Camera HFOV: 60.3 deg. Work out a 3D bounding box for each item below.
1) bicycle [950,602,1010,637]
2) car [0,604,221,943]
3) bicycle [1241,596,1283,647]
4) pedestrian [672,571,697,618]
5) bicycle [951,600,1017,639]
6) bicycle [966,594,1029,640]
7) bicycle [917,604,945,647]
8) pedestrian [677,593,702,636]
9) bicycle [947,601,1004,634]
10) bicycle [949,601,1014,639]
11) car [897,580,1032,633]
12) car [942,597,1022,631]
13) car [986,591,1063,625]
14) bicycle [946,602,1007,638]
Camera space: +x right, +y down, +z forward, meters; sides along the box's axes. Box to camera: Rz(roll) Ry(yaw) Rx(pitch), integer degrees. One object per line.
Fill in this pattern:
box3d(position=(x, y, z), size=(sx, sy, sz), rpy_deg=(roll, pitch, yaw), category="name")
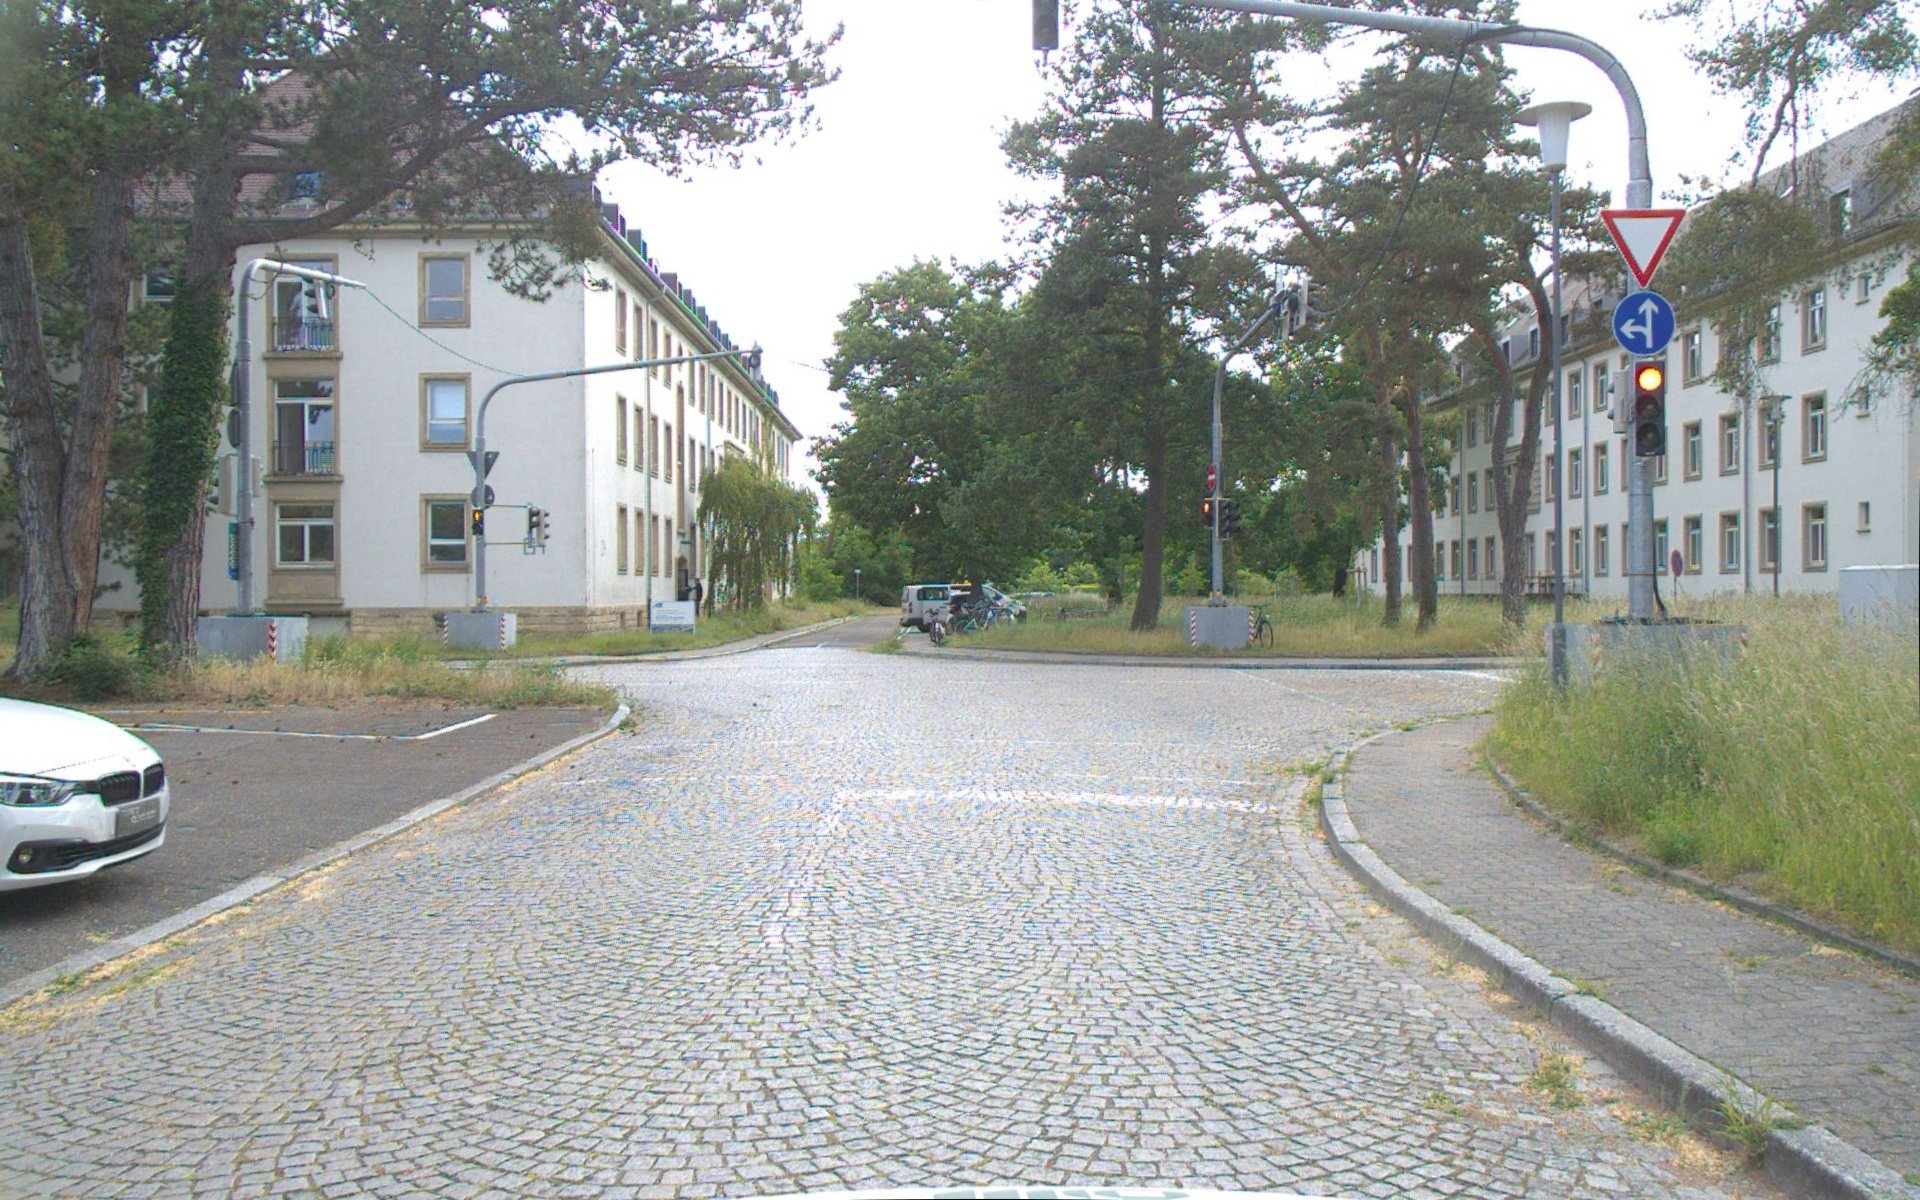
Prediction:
box3d(position=(0.657, 0.624, 53.404), size=(1.935, 1.088, 0.582), rpy_deg=(0, 0, -31), category="bicycle")
box3d(position=(-5.964, 0.716, 8.112), size=(3.868, 1.446, 1.650), rpy_deg=(2, 0, -2), category="car")
box3d(position=(6.916, 0.472, 37.916), size=(0.574, 1.125, 1.961), rpy_deg=(0, 0, -1), category="bicycle")
box3d(position=(-10.904, -0.215, 65.510), size=(0.766, 1.869, 0.733), rpy_deg=(0, 0, -32), category="pedestrian")
box3d(position=(0.713, 0.588, 49.938), size=(1.918, 1.152, 0.587), rpy_deg=(0, 0, -8), category="bicycle")
box3d(position=(1.164, 0.522, 51.409), size=(1.918, 1.408, 0.587), rpy_deg=(0, 0, -8), category="bicycle")
box3d(position=(-0.828, 0.710, 46.720), size=(0.591, 1.152, 1.959), rpy_deg=(0, 0, -6), category="bicycle")
box3d(position=(-10.569, 0.569, 64.703), size=(0.757, 1.647, 0.741), rpy_deg=(-1, 0, 10), category="pedestrian")
box3d(position=(0.538, 0.597, 57.088), size=(1.930, 1.088, 0.583), rpy_deg=(0, 0, -26), category="bicycle")
box3d(position=(0.643, 0.609, 50.570), size=(1.918, 1.136, 0.587), rpy_deg=(0, 0, -8), category="bicycle")
box3d(position=(0.145, 0.245, 68.014), size=(5.263, 1.958, 2.020), rpy_deg=(-2, 0, -10), category="car")
box3d(position=(0.840, 0.536, 64.638), size=(2.948, 1.290, 1.533), rpy_deg=(-1, 0, -7), category="car")
box3d(position=(2.781, 0.332, 71.933), size=(3.168, 1.441, 1.724), rpy_deg=(-1, 0, -4), category="car")
box3d(position=(0.523, 0.628, 52.052), size=(1.935, 1.088, 0.582), rpy_deg=(0, 0, -31), category="bicycle")
